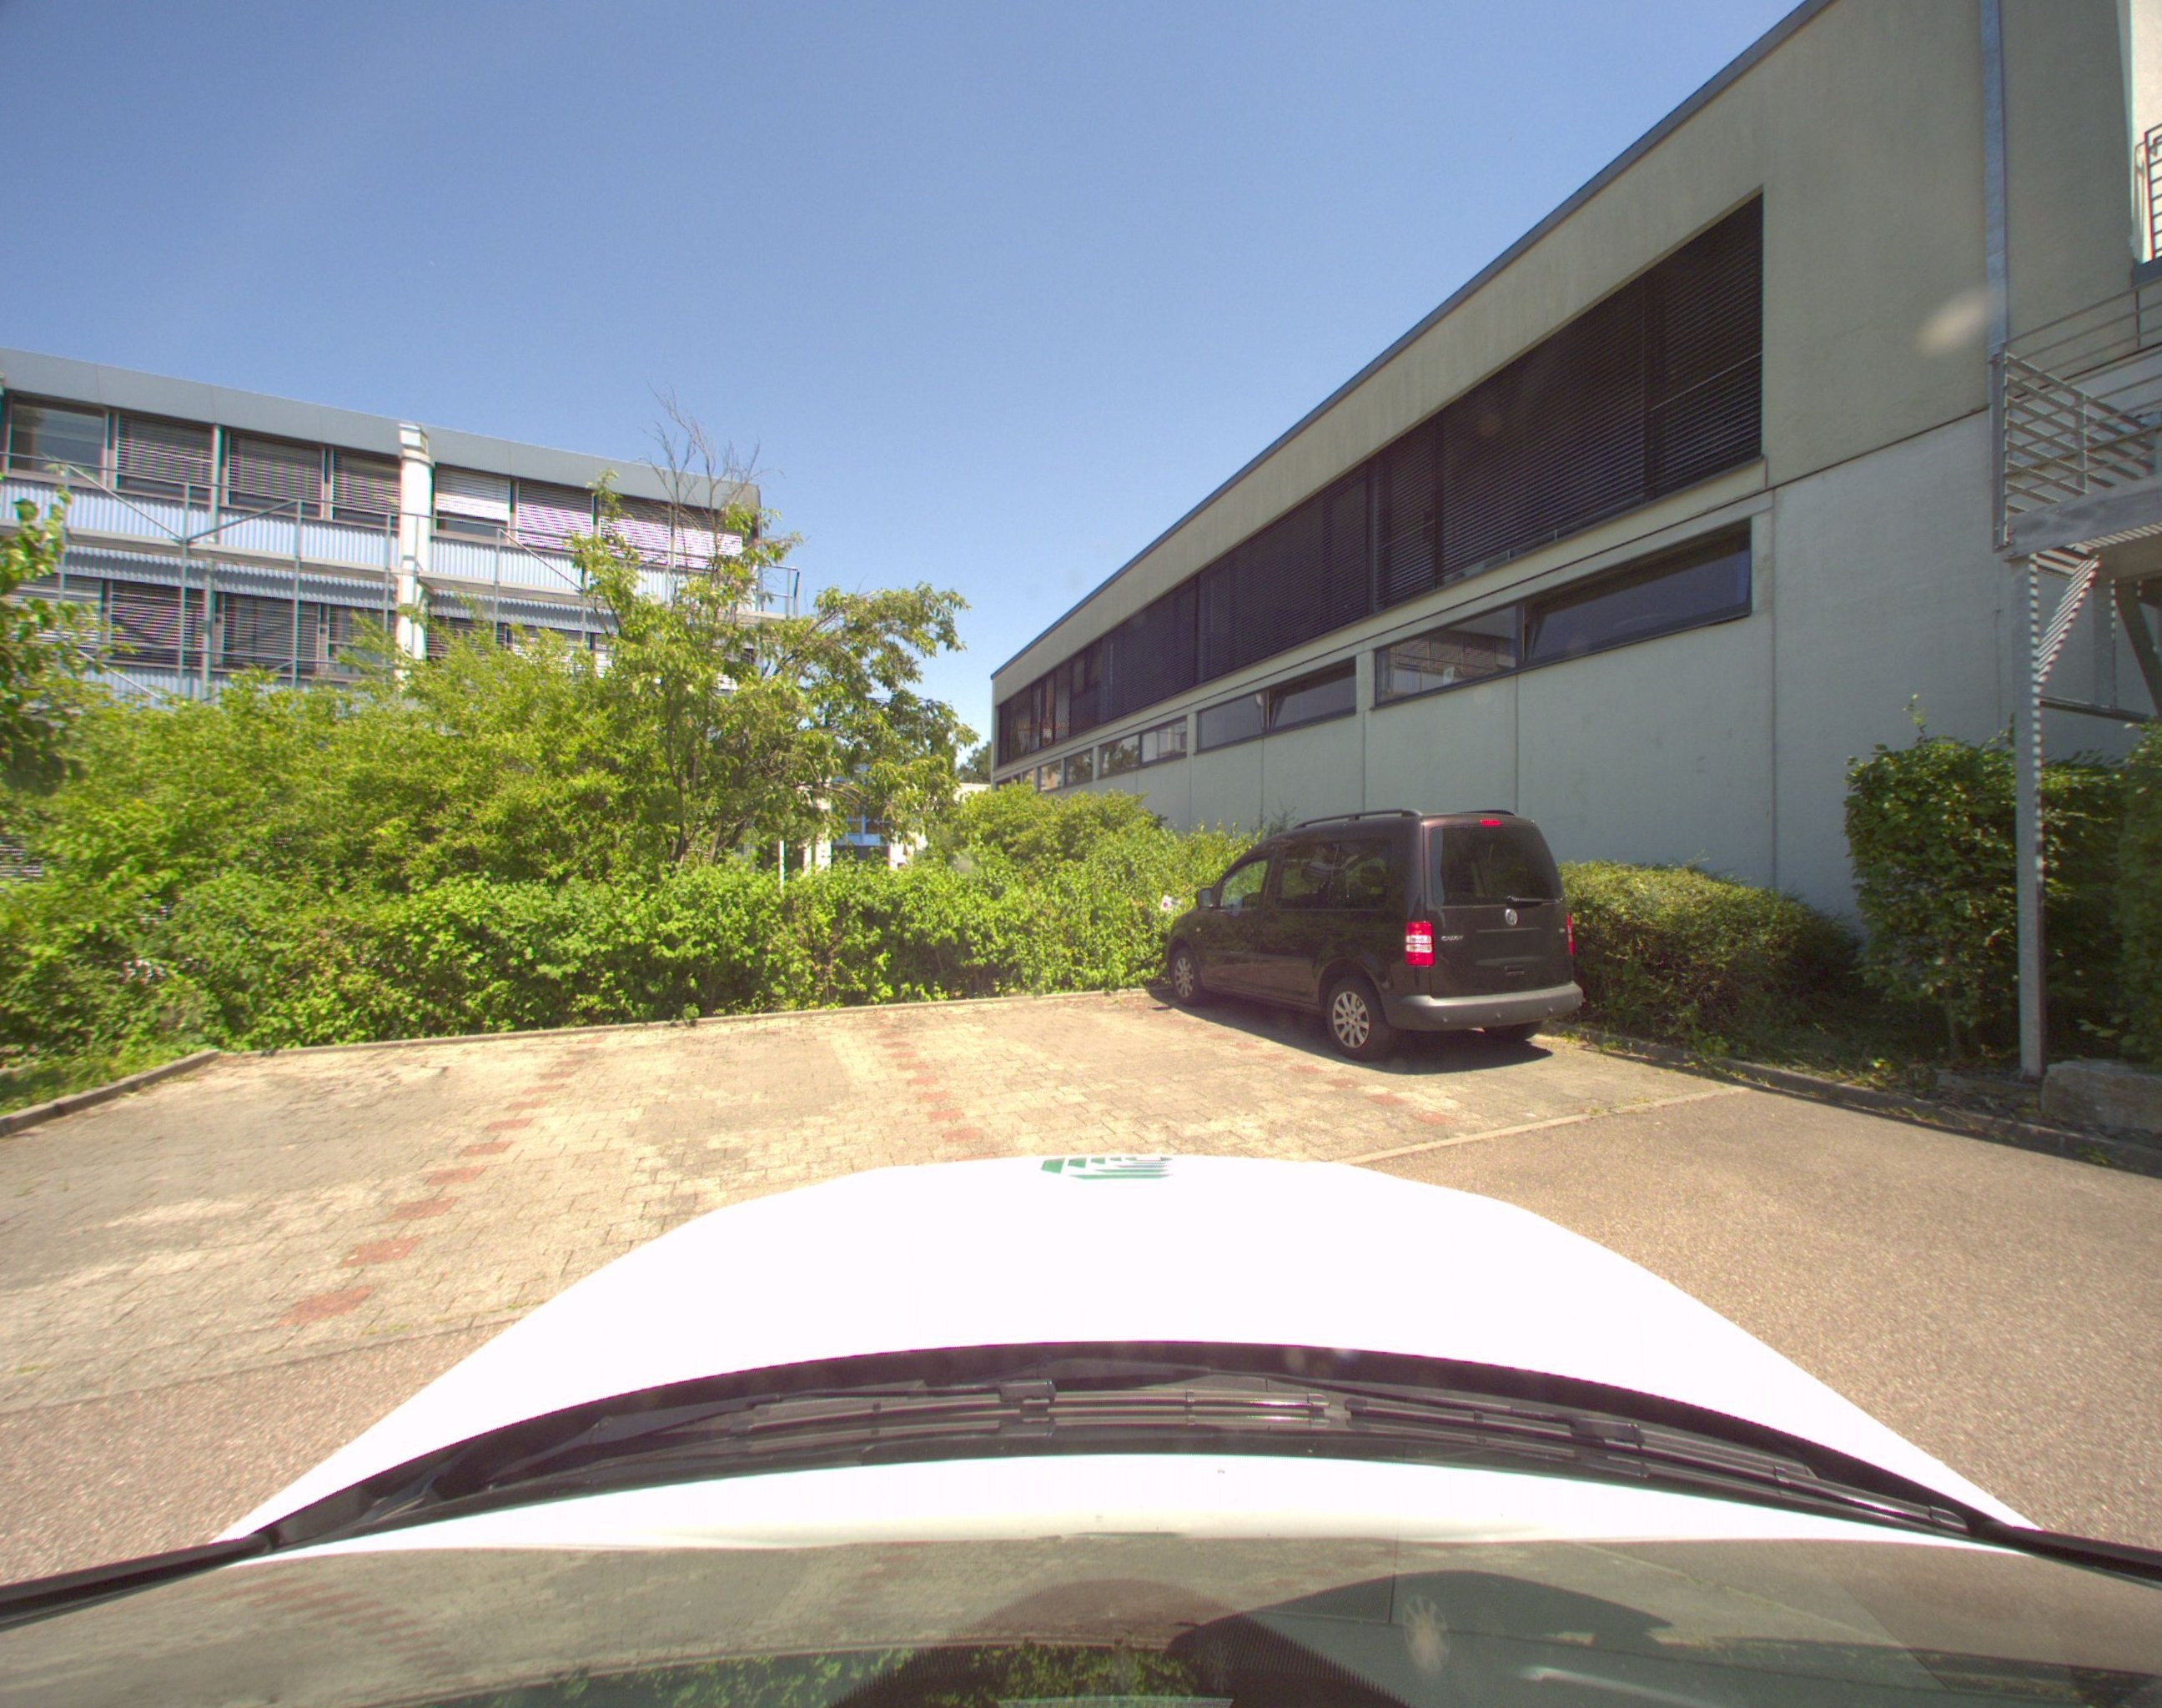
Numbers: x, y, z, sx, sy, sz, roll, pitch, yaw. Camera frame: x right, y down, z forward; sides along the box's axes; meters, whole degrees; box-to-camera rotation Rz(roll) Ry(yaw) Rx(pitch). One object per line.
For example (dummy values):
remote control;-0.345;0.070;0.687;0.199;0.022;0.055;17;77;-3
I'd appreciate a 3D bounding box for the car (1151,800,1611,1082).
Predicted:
car;2.332;0.593;7.495;1.750;1.837;3.970;0;-1;-22
